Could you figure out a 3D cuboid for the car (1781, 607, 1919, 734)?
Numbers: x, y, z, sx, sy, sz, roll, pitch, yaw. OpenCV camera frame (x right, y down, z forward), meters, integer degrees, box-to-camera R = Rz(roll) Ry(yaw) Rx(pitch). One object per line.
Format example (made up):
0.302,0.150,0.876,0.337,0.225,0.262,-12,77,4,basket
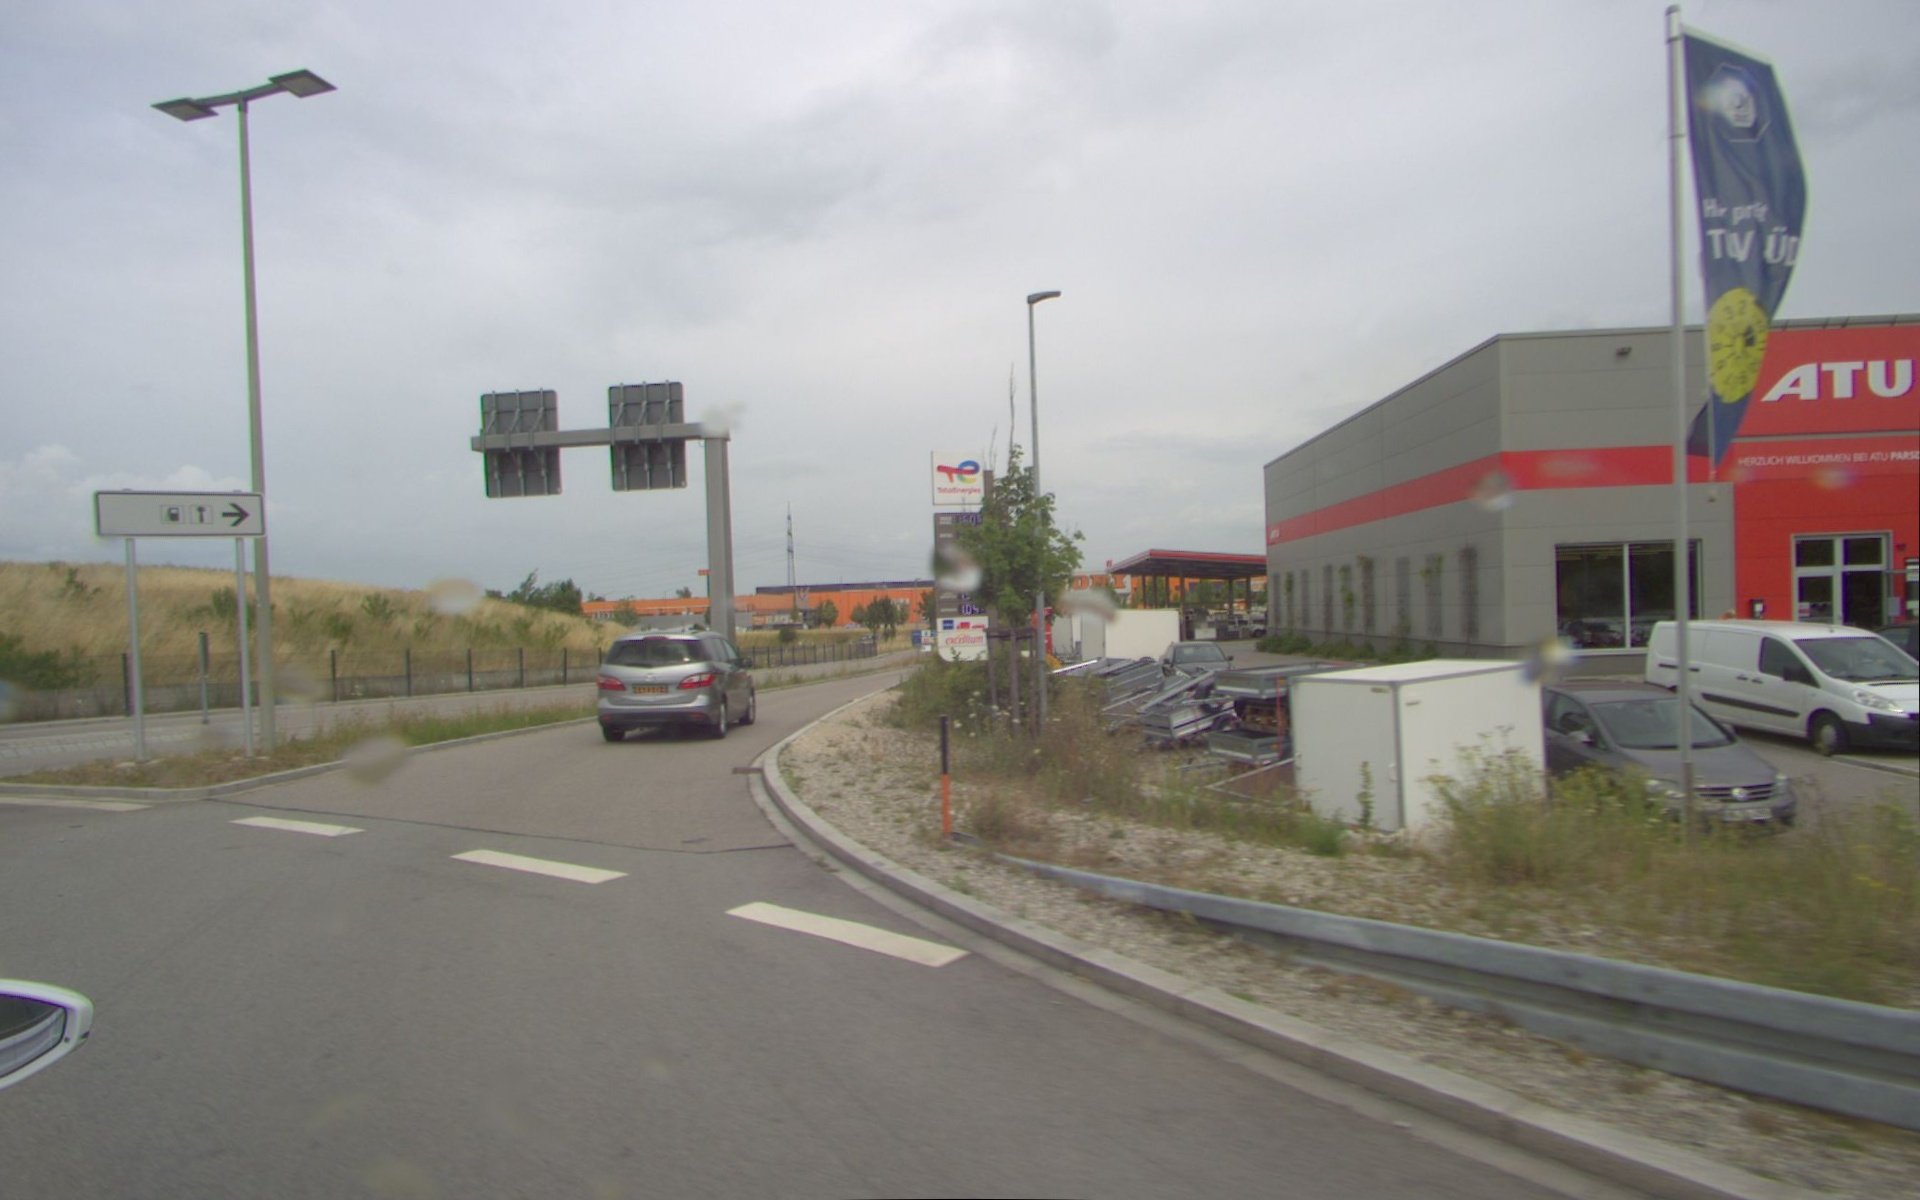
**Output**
16.614,1.160,16.512,1.961,1.999,5.078,-1,0,0,car

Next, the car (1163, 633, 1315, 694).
7.936,1.828,28.662,3.702,1.593,1.901,-5,-5,44,car

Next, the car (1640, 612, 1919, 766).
14.008,1.288,16.628,1.961,2.074,5.078,-1,0,0,car

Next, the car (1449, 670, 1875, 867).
8.336,1.888,12.613,1.927,1.697,4.836,-1,-1,0,car

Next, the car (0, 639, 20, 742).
-16.829,1.396,14.476,1.752,1.649,4.423,0,-2,17,car

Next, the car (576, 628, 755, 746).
-4.436,1.267,15.721,1.880,1.594,4.002,0,-2,-4,car
